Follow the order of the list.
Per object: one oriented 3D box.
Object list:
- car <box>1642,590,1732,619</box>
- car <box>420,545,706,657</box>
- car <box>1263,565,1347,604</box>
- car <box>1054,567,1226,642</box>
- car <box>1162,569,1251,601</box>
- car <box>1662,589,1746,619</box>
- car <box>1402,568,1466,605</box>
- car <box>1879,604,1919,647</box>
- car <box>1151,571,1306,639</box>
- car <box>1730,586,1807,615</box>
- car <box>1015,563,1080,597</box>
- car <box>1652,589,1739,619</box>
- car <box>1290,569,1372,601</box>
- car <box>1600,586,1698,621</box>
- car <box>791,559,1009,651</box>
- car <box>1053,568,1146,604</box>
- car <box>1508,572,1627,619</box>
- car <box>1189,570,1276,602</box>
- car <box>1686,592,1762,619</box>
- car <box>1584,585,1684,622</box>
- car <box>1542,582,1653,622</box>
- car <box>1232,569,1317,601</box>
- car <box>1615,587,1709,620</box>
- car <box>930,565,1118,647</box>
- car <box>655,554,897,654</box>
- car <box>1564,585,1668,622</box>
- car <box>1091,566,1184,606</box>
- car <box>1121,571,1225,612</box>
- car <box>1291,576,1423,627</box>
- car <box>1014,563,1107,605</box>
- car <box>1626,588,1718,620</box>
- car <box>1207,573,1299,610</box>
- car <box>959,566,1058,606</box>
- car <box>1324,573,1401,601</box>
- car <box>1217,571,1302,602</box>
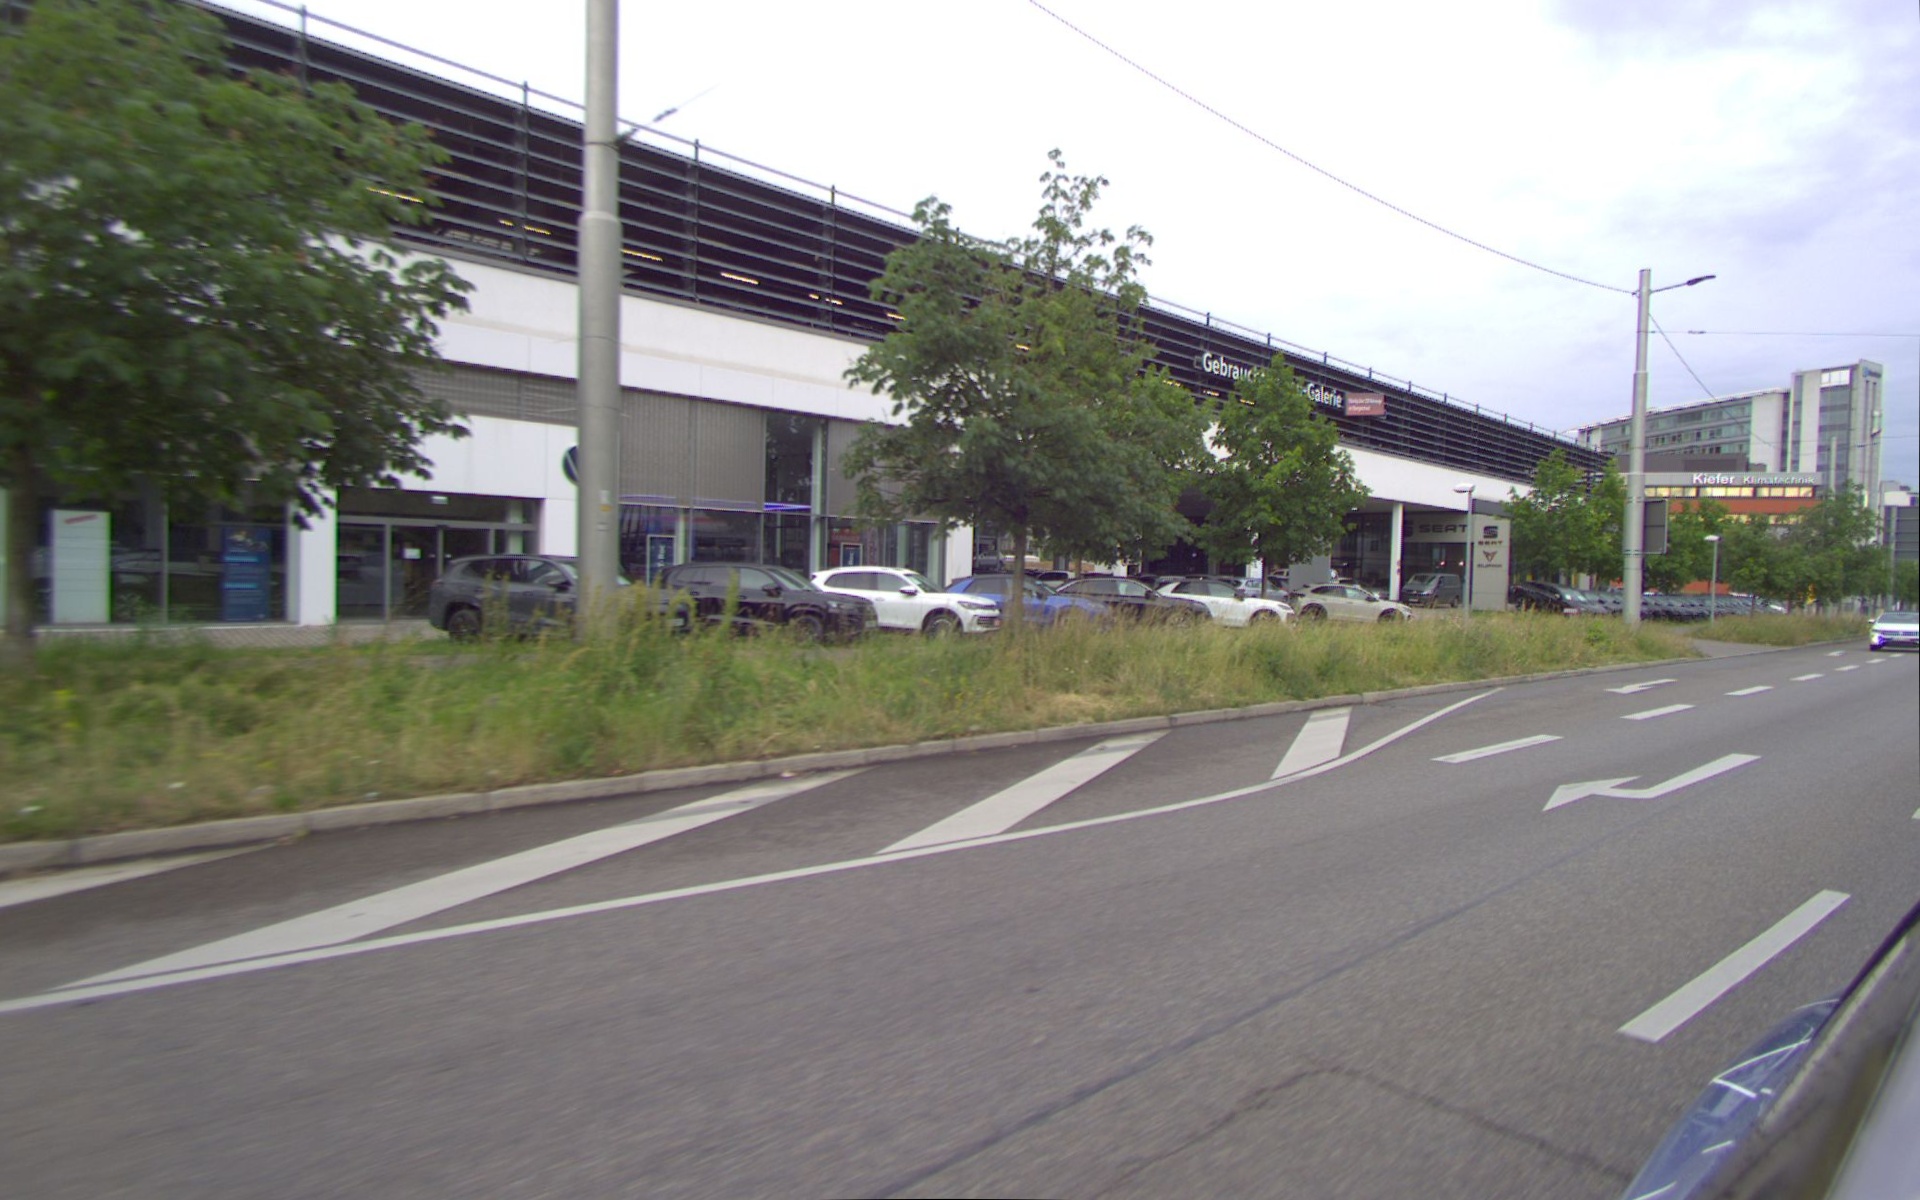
[{"bbox_3d":[44.075,0.242,61.466,4.117,1.476,1.776,5,3,29],"label":"car"},{"bbox_3d":[-6.936,-0.058,17.720,4.567,1.587,1.842,4,3,19],"label":"car"},{"bbox_3d":[19.321,-0.897,56.768,1.911,2.000,4.033,1,2,-42],"label":"car"},{"bbox_3d":[4.533,0.073,25.913,4.120,1.587,1.796,3,3,8],"label":"car"},{"bbox_3d":[12.197,-0.764,50.308,1.734,1.442,3.994,1,3,-42],"label":"car"},{"bbox_3d":[47.744,0.239,65.061,4.022,1.595,1.716,5,3,29],"label":"car"},{"bbox_3d":[27.528,-0.776,58.734,4.355,1.962,1.889,1,2,-44],"label":"car"},{"bbox_3d":[36.352,0.974,38.300,3.769,1.513,1.877,1,1,-41],"label":"car"},{"bbox_3d":[7.482,0.089,28.570,4.037,1.587,1.794,3,3,12],"label":"car"},{"bbox_3d":[64.842,-0.007,81.255,4.464,2.015,1.802,5,3,30],"label":"car"},{"bbox_3d":[5.653,-1.310,65.260,4.029,2.038,1.997,-1,3,-42],"label":"car"},{"bbox_3d":[45.999,0.253,63.427,4.117,1.552,1.776,5,3,29],"label":"car"},{"bbox_3d":[21.322,-0.887,58.326,1.872,1.652,3.994,1,2,-42],"label":"car"},{"bbox_3d":[38.082,0.170,56.064,4.108,1.588,1.812,4,3,24],"label":"car"},{"bbox_3d":[-1.282,0.037,21.803,4.299,1.645,1.846,4,3,19],"label":"car"},{"bbox_3d":[6.158,-0.593,45.091,1.754,1.527,3.995,1,0,-39],"label":"car"},{"bbox_3d":[28.799,-0.256,48.175,1.786,1.899,4.734,2,3,-19],"label":"car"},{"bbox_3d":[13.922,-0.727,51.883,1.734,1.442,3.994,1,3,-42],"label":"car"},{"bbox_3d":[51.792,0.347,68.703,4.036,1.520,1.665,5,3,37],"label":"car"},{"bbox_3d":[35.941,0.171,54.084,4.108,1.624,1.812,4,3,24],"label":"car"},{"bbox_3d":[31.699,0.066,50.475,4.281,1.632,1.858,4,3,19],"label":"car"},{"bbox_3d":[17.153,-0.837,55.334,1.872,1.555,3.994,1,2,-42],"label":"car"},{"bbox_3d":[40.153,0.181,58.005,4.116,1.588,1.891,5,3,28],"label":"car"},{"bbox_3d":[1.529,0.081,23.810,4.129,1.587,1.793,3,3,14],"label":"car"},{"bbox_3d":[-3.571,0.007,19.753,4.317,1.587,1.790,4,3,18],"label":"car"},{"bbox_3d":[33.825,0.156,52.331,4.105,1.581,1.856,4,3,22],"label":"car"},{"bbox_3d":[8.084,-0.622,46.352,1.857,1.750,3.995,1,0,-39],"label":"car"},{"bbox_3d":[8.767,-0.349,41.469,4.615,1.485,1.783,0,4,-43],"label":"car"},{"bbox_3d":[13.780,0.021,35.361,4.042,1.483,1.740,3,3,16],"label":"car"},{"bbox_3d":[4.222,-0.685,42.981,1.611,1.607,3.822,1,2,-42],"label":"car"},{"bbox_3d":[41.941,0.185,59.739,4.117,1.546,1.813,5,3,29],"label":"car"},{"bbox_3d":[13.401,-0.397,46.179,4.617,1.485,1.897,0,4,-43],"label":"car"},{"bbox_3d":[1.955,-0.593,41.749,3.812,1.470,1.709,4,2,40],"label":"car"},{"bbox_3d":[24.486,-0.810,61.640,1.695,1.532,4.037,1,3,-44],"label":"car"},{"bbox_3d":[15.734,-0.718,53.295,1.734,1.463,3.994,1,3,-42],"label":"car"}]
